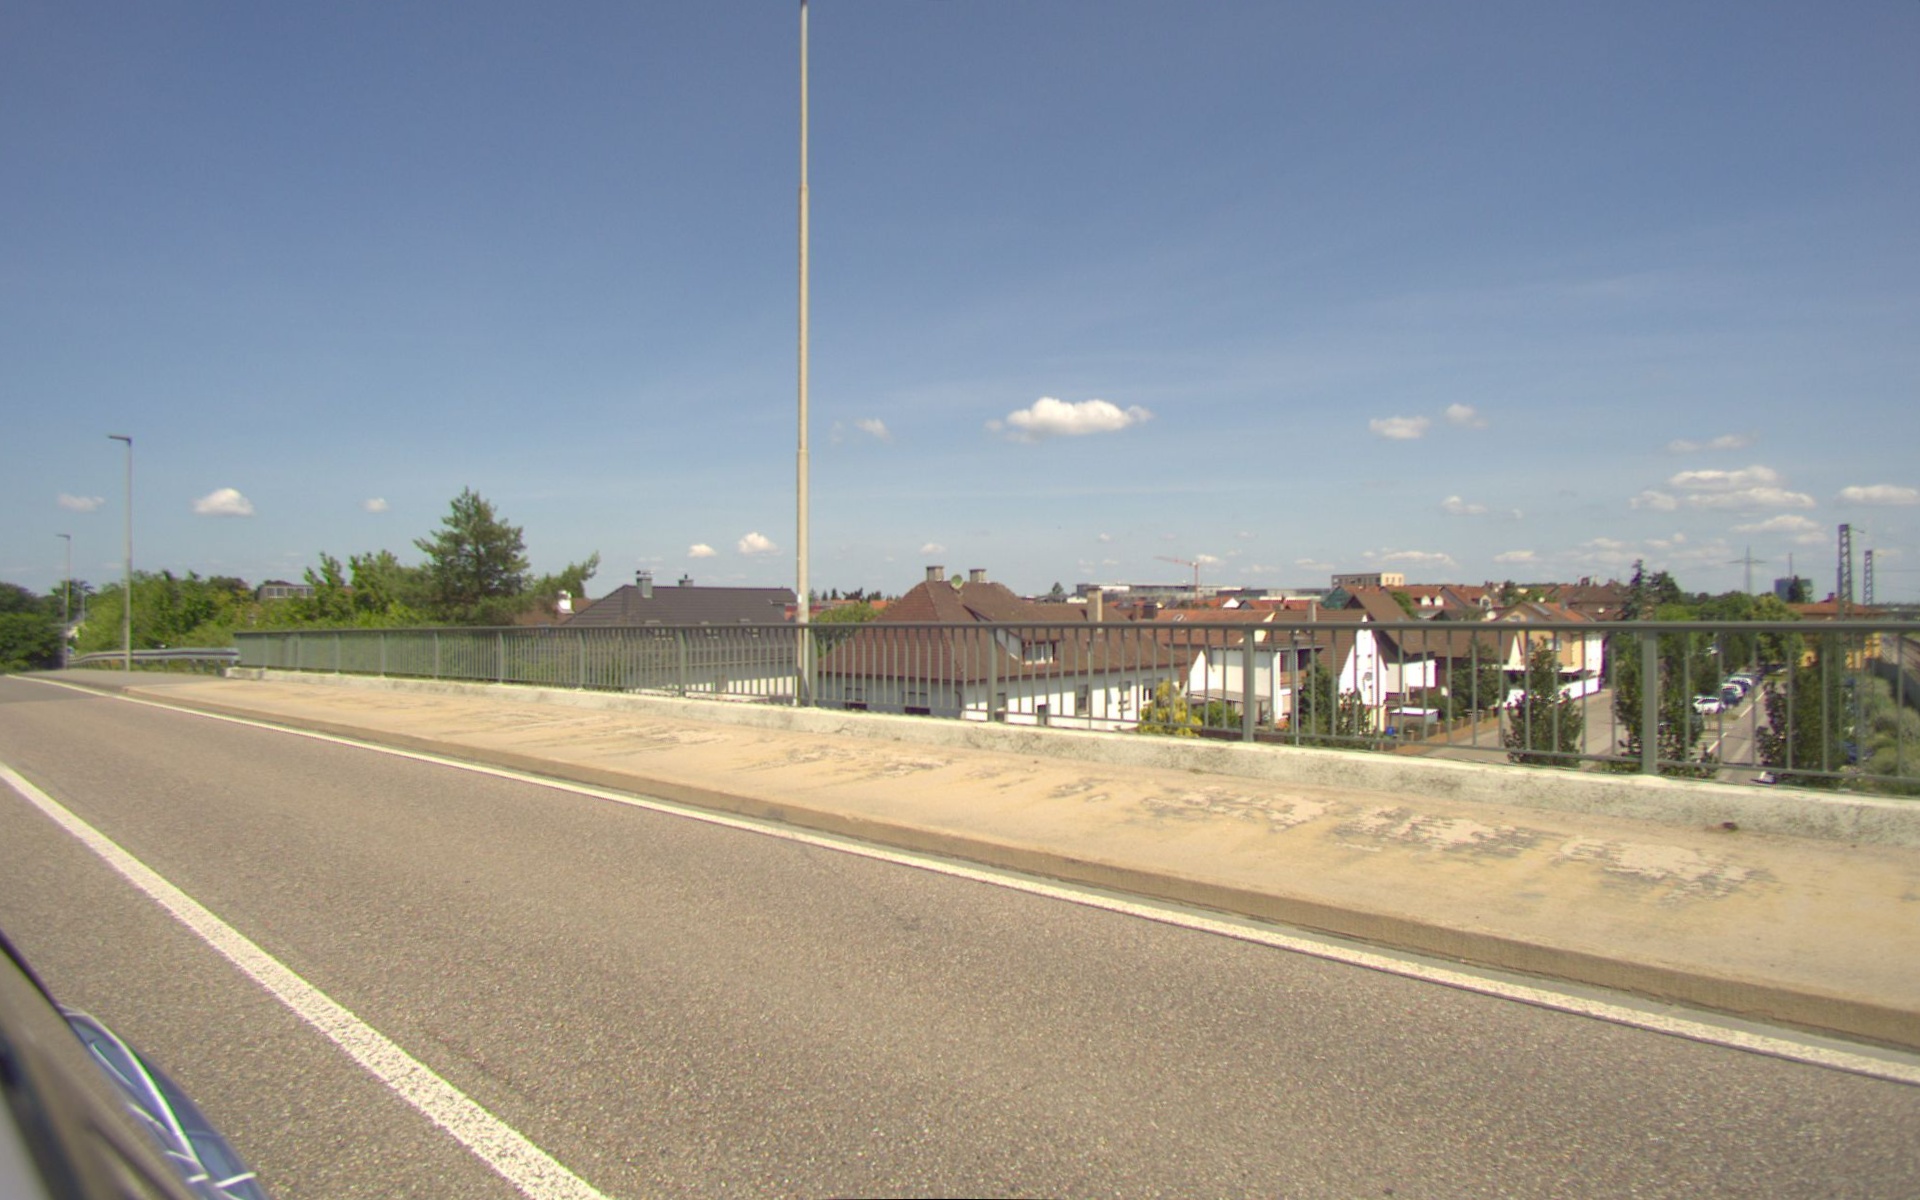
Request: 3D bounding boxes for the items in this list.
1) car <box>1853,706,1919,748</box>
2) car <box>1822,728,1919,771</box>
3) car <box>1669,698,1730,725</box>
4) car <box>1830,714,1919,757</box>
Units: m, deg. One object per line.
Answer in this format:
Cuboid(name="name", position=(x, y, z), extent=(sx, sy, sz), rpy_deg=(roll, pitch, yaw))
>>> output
Cuboid(name="car", position=(61.540, 8.344, 66.382), extent=(1.966, 2.028, 4.013), rpy_deg=(-5, 4, -28))
Cuboid(name="car", position=(56.916, 9.253, 62.855), extent=(2.172, 1.612, 4.633), rpy_deg=(-5, 4, -24))
Cuboid(name="car", position=(63.436, 9.550, 86.819), extent=(3.936, 2.029, 2.004), rpy_deg=(-1, -1, -9))
Cuboid(name="car", position=(59.302, 8.658, 64.927), extent=(1.966, 2.028, 4.867), rpy_deg=(-3, 2, -32))
